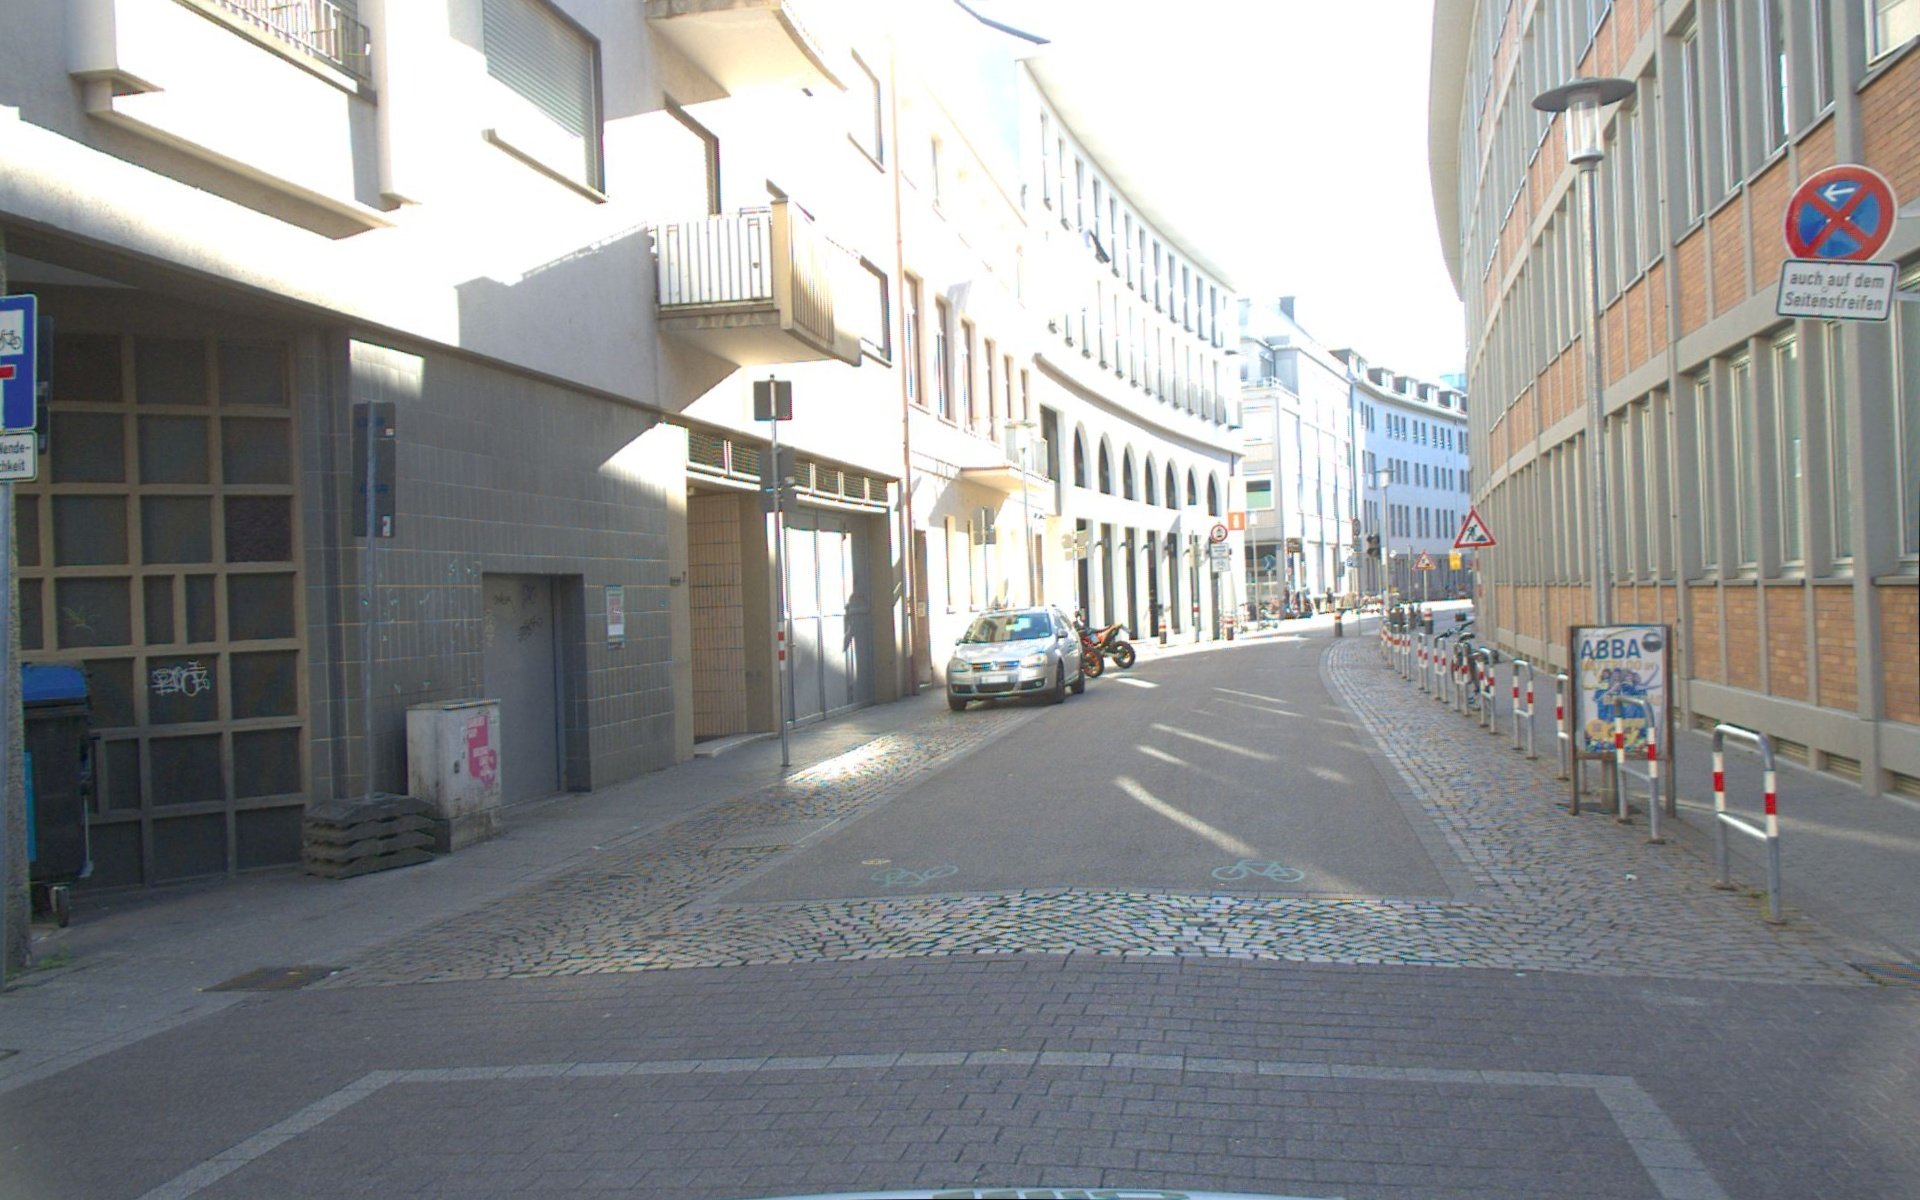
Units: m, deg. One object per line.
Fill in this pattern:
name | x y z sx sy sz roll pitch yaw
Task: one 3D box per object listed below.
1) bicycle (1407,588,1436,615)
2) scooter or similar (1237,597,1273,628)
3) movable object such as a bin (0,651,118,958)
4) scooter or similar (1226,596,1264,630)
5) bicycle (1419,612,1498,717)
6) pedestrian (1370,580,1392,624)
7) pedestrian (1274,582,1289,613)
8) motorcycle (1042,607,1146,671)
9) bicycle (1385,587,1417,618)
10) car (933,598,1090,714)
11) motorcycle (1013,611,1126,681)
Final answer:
bicycle | 18.427 0.053 66.039 0.908 0.977 3.368 -3 0 19
scooter or similar | 12.544 0.543 70.300 0.524 1.218 1.945 -3 -2 -21
movable object such as a bin | -5.611 1.144 9.414 1.276 1.617 1.141 -3 1 -34
scooter or similar | 11.316 0.513 65.770 0.524 1.218 1.945 -3 -2 -21
bicycle | 5.949 0.747 19.810 0.622 1.136 1.932 -3 0 10
pedestrian | 14.542 0.072 57.103 0.643 1.466 0.596 -3 0 13
pedestrian | 16.522 -0.131 84.919 0.643 1.554 0.483 -4 0 13
motorcycle | 2.982 0.875 36.970 2.241 1.267 0.573 -5 -1 32
bicycle | 16.648 0.087 62.407 0.909 1.066 3.368 -3 0 19
car | 0.884 0.818 25.881 1.728 1.495 3.816 -5 0 11
motorcycle | 2.184 0.924 33.080 2.166 1.267 0.573 -5 -1 32
